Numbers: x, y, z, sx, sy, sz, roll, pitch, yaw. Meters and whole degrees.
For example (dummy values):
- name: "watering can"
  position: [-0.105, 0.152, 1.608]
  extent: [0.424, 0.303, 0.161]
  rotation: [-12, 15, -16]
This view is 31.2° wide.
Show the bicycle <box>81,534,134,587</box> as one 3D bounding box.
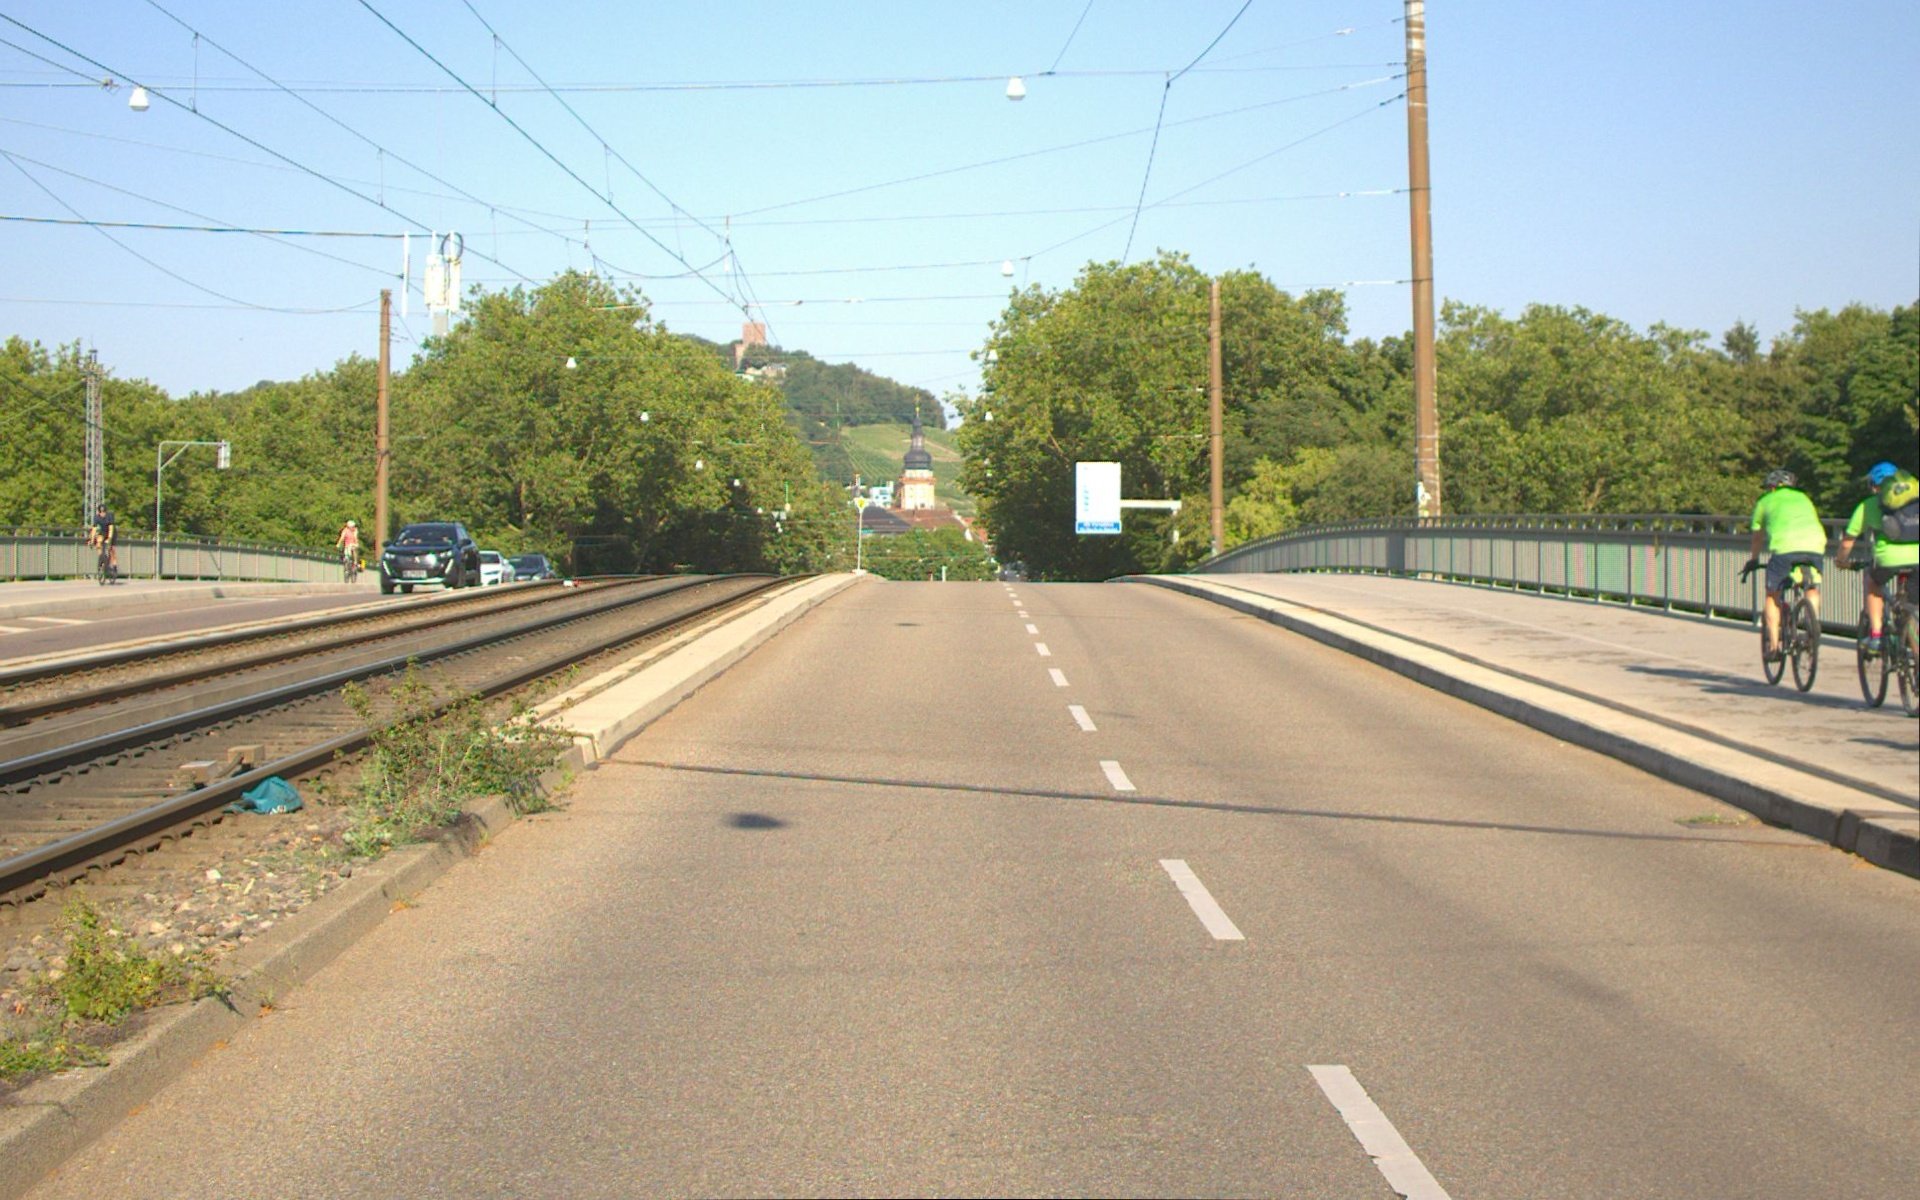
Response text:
- name: "bicycle"
  position: [-18.255, -0.854, 73.655]
  extent: [0.625, 1.118, 2.260]
  rotation: [0, 1, -1]

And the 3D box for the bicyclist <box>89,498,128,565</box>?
- name: "bicyclist"
  position: [-18.252, -1.459, 73.688]
  extent: [0.625, 1.427, 0.969]
  rotation: [0, 1, -1]

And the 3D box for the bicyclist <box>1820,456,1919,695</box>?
- name: "bicyclist"
  position: [6.266, -0.166, 23.301]
  extent: [0.625, 1.587, 0.931]
  rotation: [0, 1, 0]

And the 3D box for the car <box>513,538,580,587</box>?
- name: "car"
  position: [-14.332, -1.313, 119.350]
  extent: [1.779, 1.645, 4.447]
  rotation: [0, 1, 0]

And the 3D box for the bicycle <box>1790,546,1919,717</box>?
- name: "bicycle"
  position: [6.226, 0.194, 23.454]
  extent: [0.625, 1.118, 2.042]
  rotation: [0, 1, 0]

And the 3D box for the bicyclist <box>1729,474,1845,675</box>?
- name: "bicyclist"
  position: [6.308, -0.198, 26.265]
  extent: [0.625, 1.503, 1.006]
  rotation: [0, 1, 0]

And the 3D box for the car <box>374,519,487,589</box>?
- name: "car"
  position: [-11.659, -1.026, 75.952]
  extent: [1.849, 1.497, 4.219]
  rotation: [0, 1, 0]

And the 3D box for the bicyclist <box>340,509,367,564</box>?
- name: "bicyclist"
  position: [-18.033, -1.890, 102.303]
  extent: [0.625, 1.627, 0.935]
  rotation: [0, 1, 1]

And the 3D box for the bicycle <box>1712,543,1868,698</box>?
- name: "bicycle"
  position: [6.306, 0.133, 26.230]
  extent: [0.625, 1.118, 2.260]
  rotation: [0, 1, 0]

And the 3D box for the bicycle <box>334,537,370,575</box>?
- name: "bicycle"
  position: [-18.039, -1.302, 102.053]
  extent: [0.625, 1.118, 2.260]
  rotation: [0, 1, 1]
